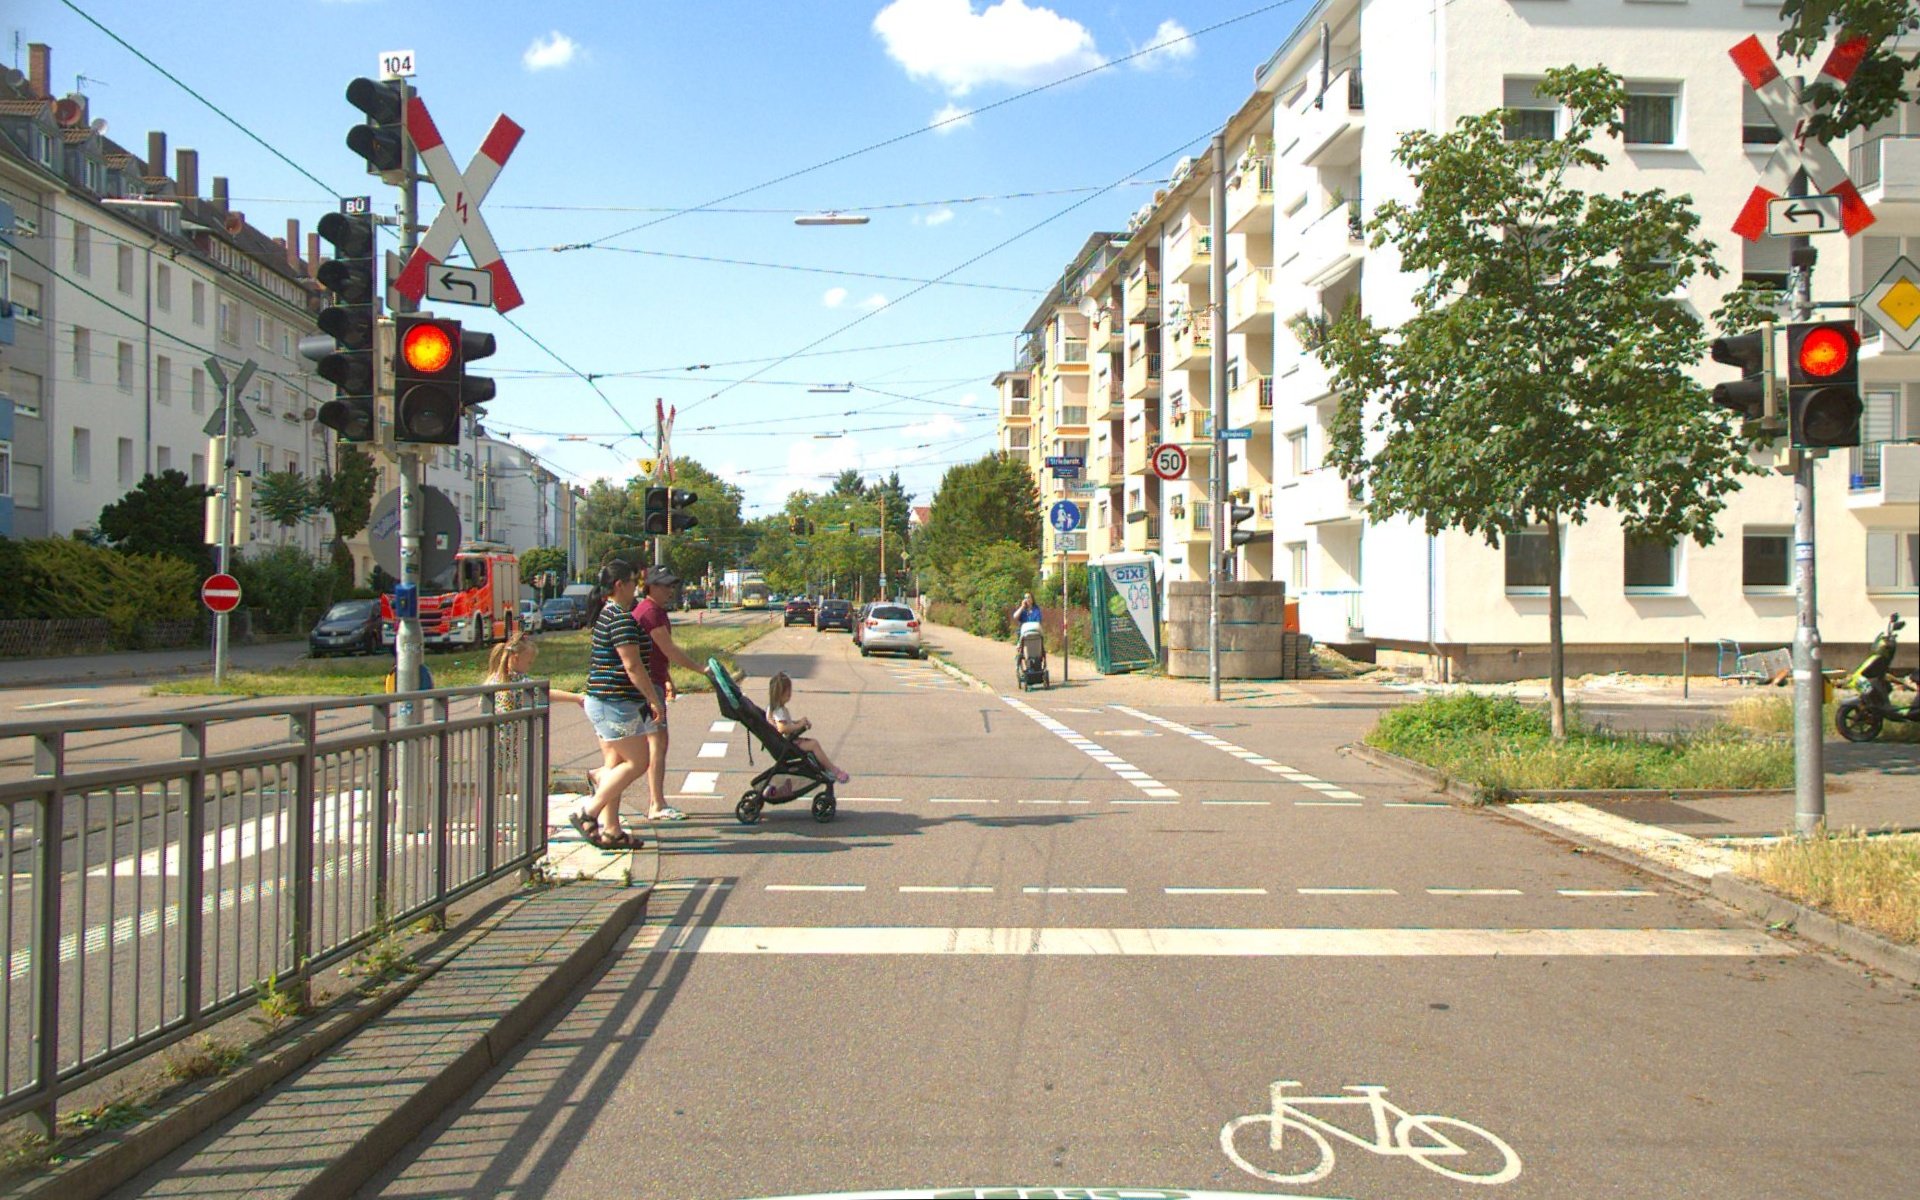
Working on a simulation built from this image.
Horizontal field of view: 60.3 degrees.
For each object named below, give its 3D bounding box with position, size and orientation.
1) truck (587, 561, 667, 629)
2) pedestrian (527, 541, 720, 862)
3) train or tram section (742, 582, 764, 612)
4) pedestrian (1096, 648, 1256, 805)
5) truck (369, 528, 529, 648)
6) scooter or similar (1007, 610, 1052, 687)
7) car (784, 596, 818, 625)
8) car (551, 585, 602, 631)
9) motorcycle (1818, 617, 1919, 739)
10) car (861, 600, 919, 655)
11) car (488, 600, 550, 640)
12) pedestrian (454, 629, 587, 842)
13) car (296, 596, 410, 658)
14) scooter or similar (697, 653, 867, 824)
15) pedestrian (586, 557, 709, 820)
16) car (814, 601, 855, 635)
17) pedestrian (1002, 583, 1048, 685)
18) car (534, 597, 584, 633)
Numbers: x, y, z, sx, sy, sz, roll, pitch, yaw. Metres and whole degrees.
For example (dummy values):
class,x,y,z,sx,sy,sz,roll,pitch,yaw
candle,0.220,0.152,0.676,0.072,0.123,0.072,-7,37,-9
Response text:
class,x,y,z,sx,sy,sz,roll,pitch,yaw
truck,-18.400,-0.224,92.037,2.613,3.531,10.164,1,0,-2
pedestrian,-1.903,0.540,9.326,0.838,1.697,0.789,0,-1,-34
train or tram section,-22.414,-0.320,178.996,2.215,3.122,8.122,0,0,-6
pedestrian,3.168,1.814,25.023,1.952,2.049,4.001,1,-1,1
truck,-15.151,-0.291,49.752,2.544,3.241,8.377,1,0,-3
scooter or similar,1.254,0.860,29.931,0.649,1.326,0.868,-3,0,-4
car,-8.911,0.585,92.951,1.709,1.533,3.997,2,0,-4
car,-21.091,0.467,91.078,1.929,2.412,5.197,1,0,-4
motorcycle,10.219,0.820,17.613,0.565,1.236,1.826,-5,1,-32
car,-2.057,0.791,48.223,1.590,1.490,3.508,1,0,-3
car,-19.951,0.891,75.011,1.954,1.741,3.996,2,0,-5
pedestrian,-2.652,0.781,9.944,0.629,1.201,0.792,0,-1,-27
car,-17.607,0.770,48.175,1.954,1.674,3.998,1,0,-3
scooter or similar,-1.176,0.915,11.079,1.078,1.074,0.650,1,-1,-4
pedestrian,-2.071,0.577,11.037,0.692,1.677,0.636,2,-1,-5
car,-5.941,0.832,78.626,1.708,1.533,3.999,1,0,-2
pedestrian,1.196,0.623,30.826,0.687,1.820,1.029,-3,0,-2
car,-20.568,0.754,84.883,1.873,1.741,3.996,2,0,-5
